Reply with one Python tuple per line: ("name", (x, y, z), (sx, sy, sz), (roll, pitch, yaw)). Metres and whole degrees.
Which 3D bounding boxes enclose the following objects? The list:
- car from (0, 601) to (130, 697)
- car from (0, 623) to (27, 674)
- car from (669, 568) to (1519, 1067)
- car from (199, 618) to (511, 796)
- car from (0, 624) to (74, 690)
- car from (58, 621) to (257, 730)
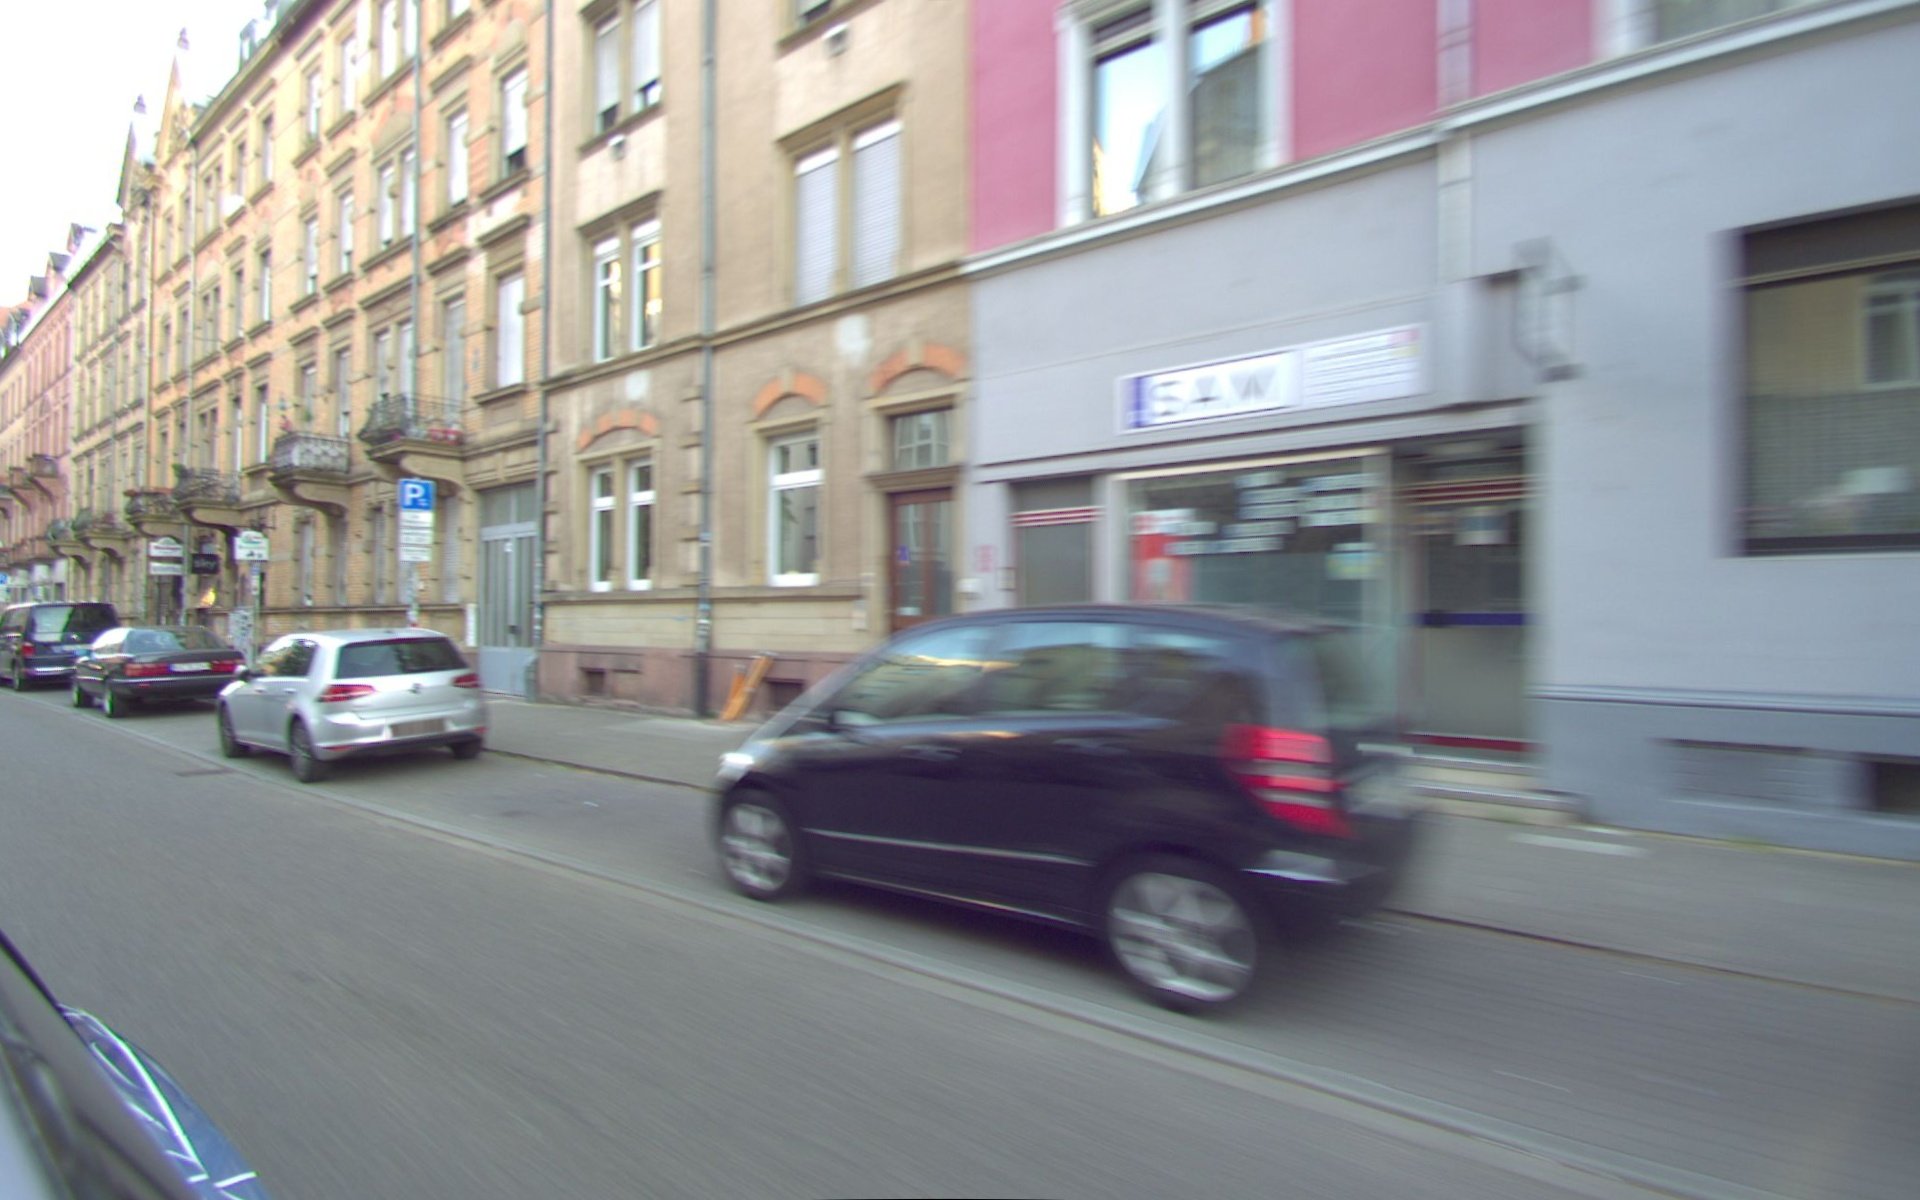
("car", (-20.954, 1.085, 23.377), (4.287, 1.975, 1.851), (-2, 1, 39))
("car", (-30.753, 1.555, 31.514), (4.051, 1.486, 1.737), (-2, 3, 37))
("car", (0.422, 0.728, 5.240), (4.054, 1.605, 1.735), (-2, 0, 40))
("car", (-6.820, 1.031, 11.247), (4.055, 1.486, 1.735), (-2, 3, 41))
("car", (-24.980, 1.479, 26.583), (4.051, 1.486, 1.737), (-2, 3, 37))
("car", (-13.682, 1.188, 17.174), (4.276, 1.486, 1.736), (-2, 3, 40))
